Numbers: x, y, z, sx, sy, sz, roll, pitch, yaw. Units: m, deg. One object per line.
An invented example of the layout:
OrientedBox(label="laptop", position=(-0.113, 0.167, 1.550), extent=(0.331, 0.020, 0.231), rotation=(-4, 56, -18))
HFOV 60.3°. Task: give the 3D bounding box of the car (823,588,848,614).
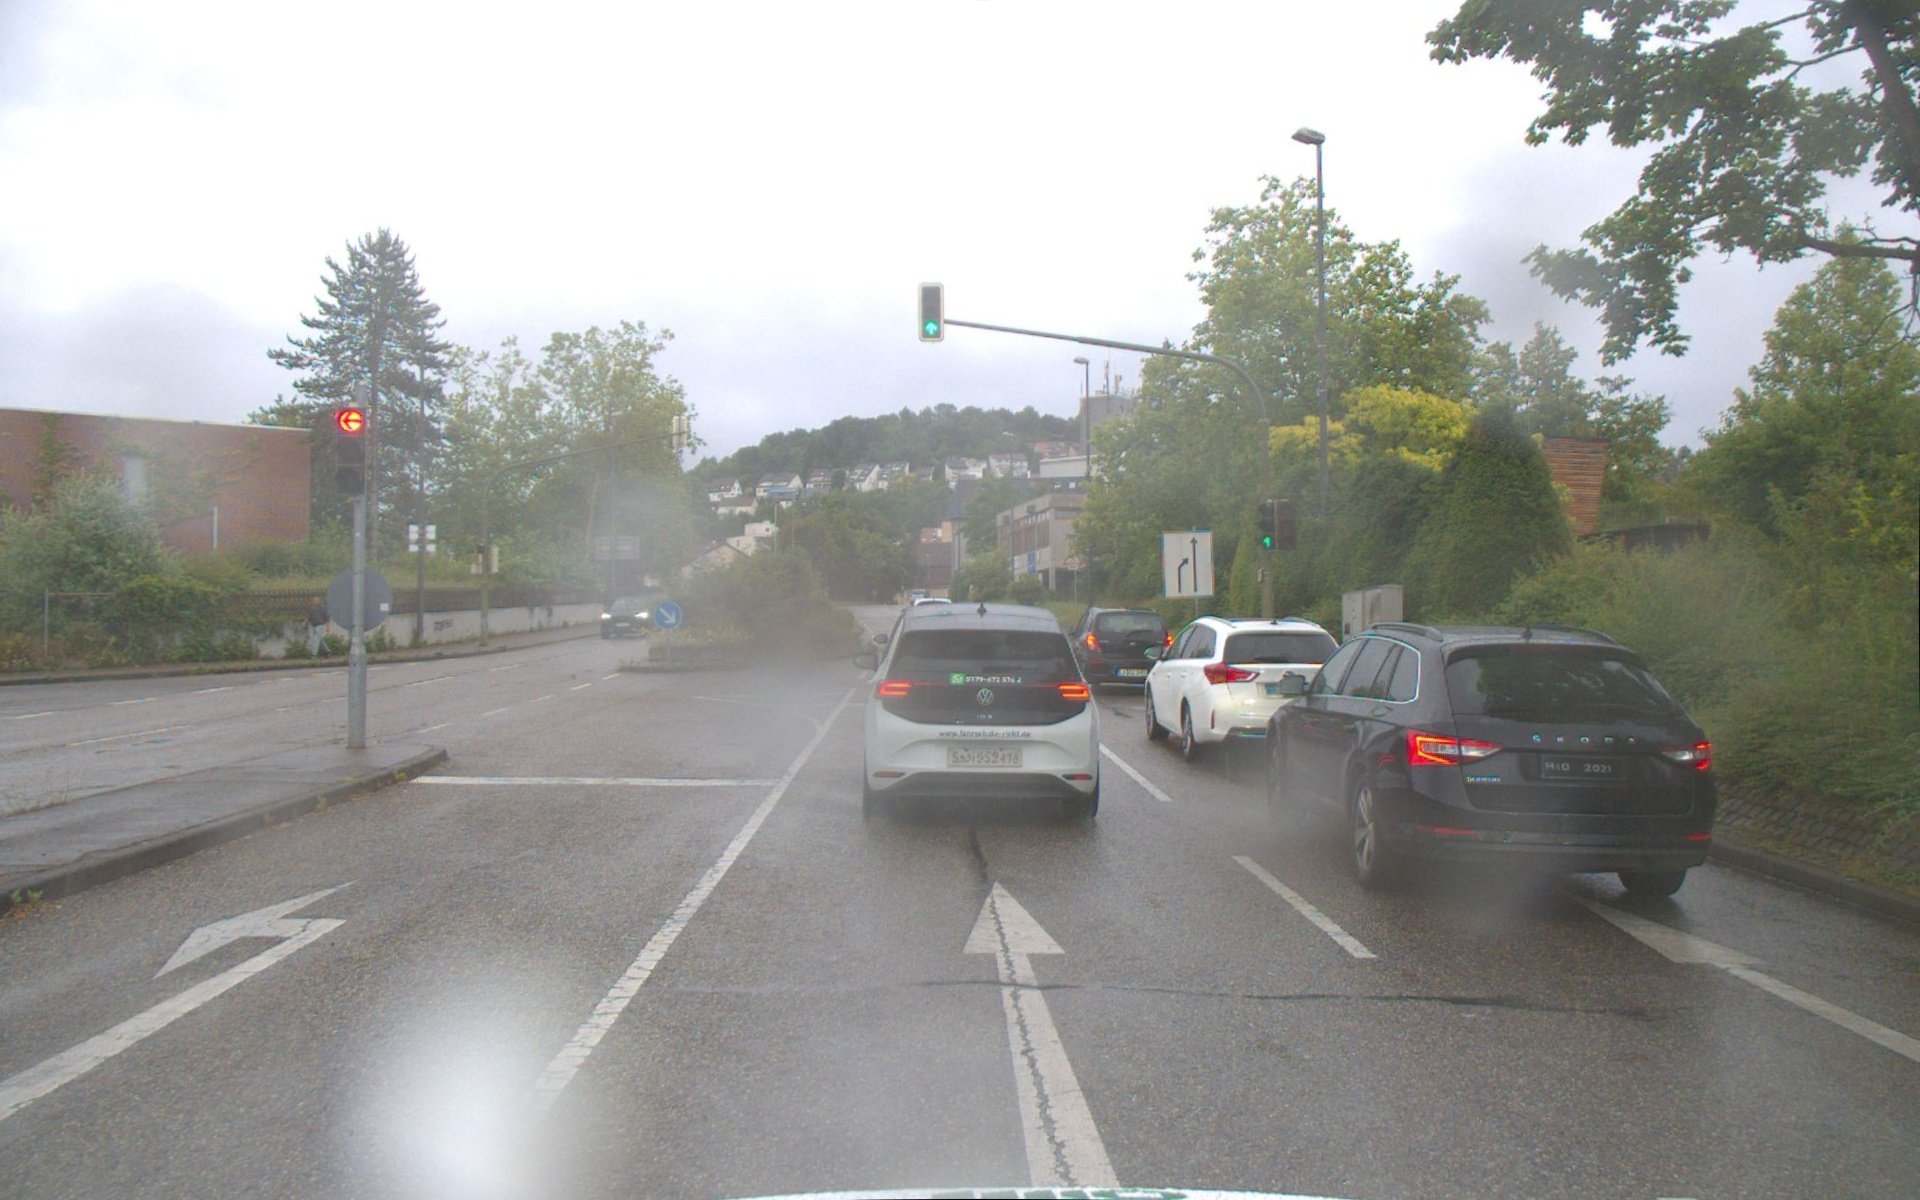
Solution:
OrientedBox(label="car", position=(-10.477, 0.108, 139.457), extent=(1.954, 2.049, 3.997), rotation=(1, -1, -3))

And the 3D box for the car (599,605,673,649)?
OrientedBox(label="car", position=(-12.004, 1.003, 61.567), extent=(1.910, 1.504, 4.295), rotation=(-2, -1, -1))

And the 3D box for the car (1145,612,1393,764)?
OrientedBox(label="car", position=(3.176, 0.858, 17.841), extent=(1.810, 1.434, 4.300), rotation=(0, -1, -1))

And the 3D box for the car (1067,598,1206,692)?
OrientedBox(label="car", position=(3.064, 0.769, 29.458), extent=(1.953, 1.478, 3.770), rotation=(-2, -1, -1))

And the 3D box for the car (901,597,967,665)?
OrientedBox(label="car", position=(-0.815, 0.957, 52.228), extent=(1.953, 2.049, 3.999), rotation=(1, -1, -1))

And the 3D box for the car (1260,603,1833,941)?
OrientedBox(label="car", position=(3.214, 0.845, 10.187), extent=(1.914, 1.534, 4.608), rotation=(2, -1, 1))

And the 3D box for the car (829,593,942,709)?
OrientedBox(label="car", position=(-1.134, 0.685, 24.544), extent=(1.536, 1.557, 3.997), rotation=(0, 0, -3))

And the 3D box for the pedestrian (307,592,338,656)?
OrientedBox(label="pedestrian", position=(-16.821, 0.637, 43.630), extent=(0.541, 1.671, 0.499), rotation=(-2, 0, 29))

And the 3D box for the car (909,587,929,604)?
OrientedBox(label="car", position=(-3.861, -0.403, 154.175), extent=(1.703, 1.490, 3.997), rotation=(1, -1, -3))

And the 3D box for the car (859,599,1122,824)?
OrientedBox(label="car", position=(0.180, 0.787, 13.406), extent=(1.791, 1.526, 4.167), rotation=(0, -1, -1))
